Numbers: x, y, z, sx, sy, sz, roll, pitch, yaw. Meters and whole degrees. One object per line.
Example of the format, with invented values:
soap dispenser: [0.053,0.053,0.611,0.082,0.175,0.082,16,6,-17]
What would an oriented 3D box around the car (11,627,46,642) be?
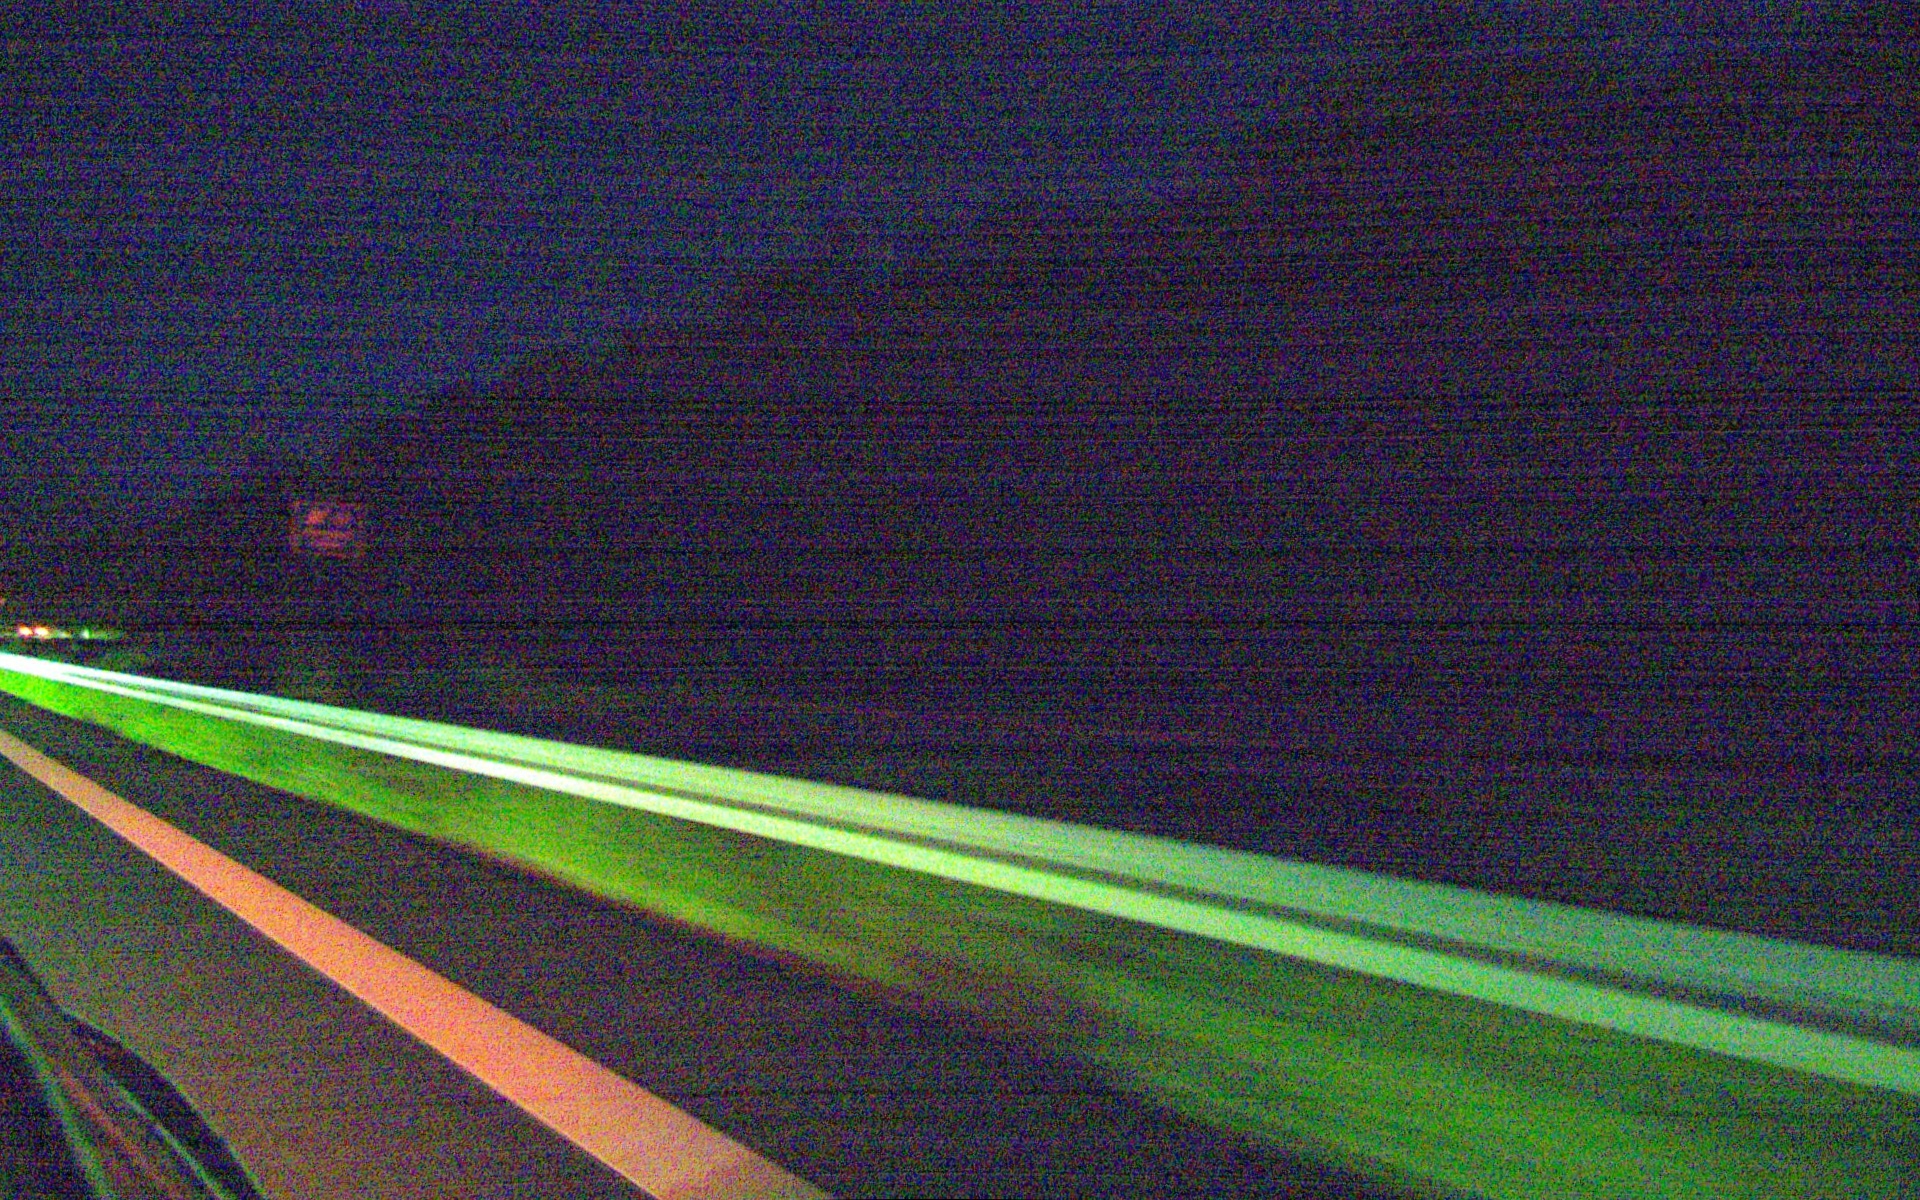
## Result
car: [-97.883,3.600,106.297,5.196,1.515,1.973,-1,-3,40]
